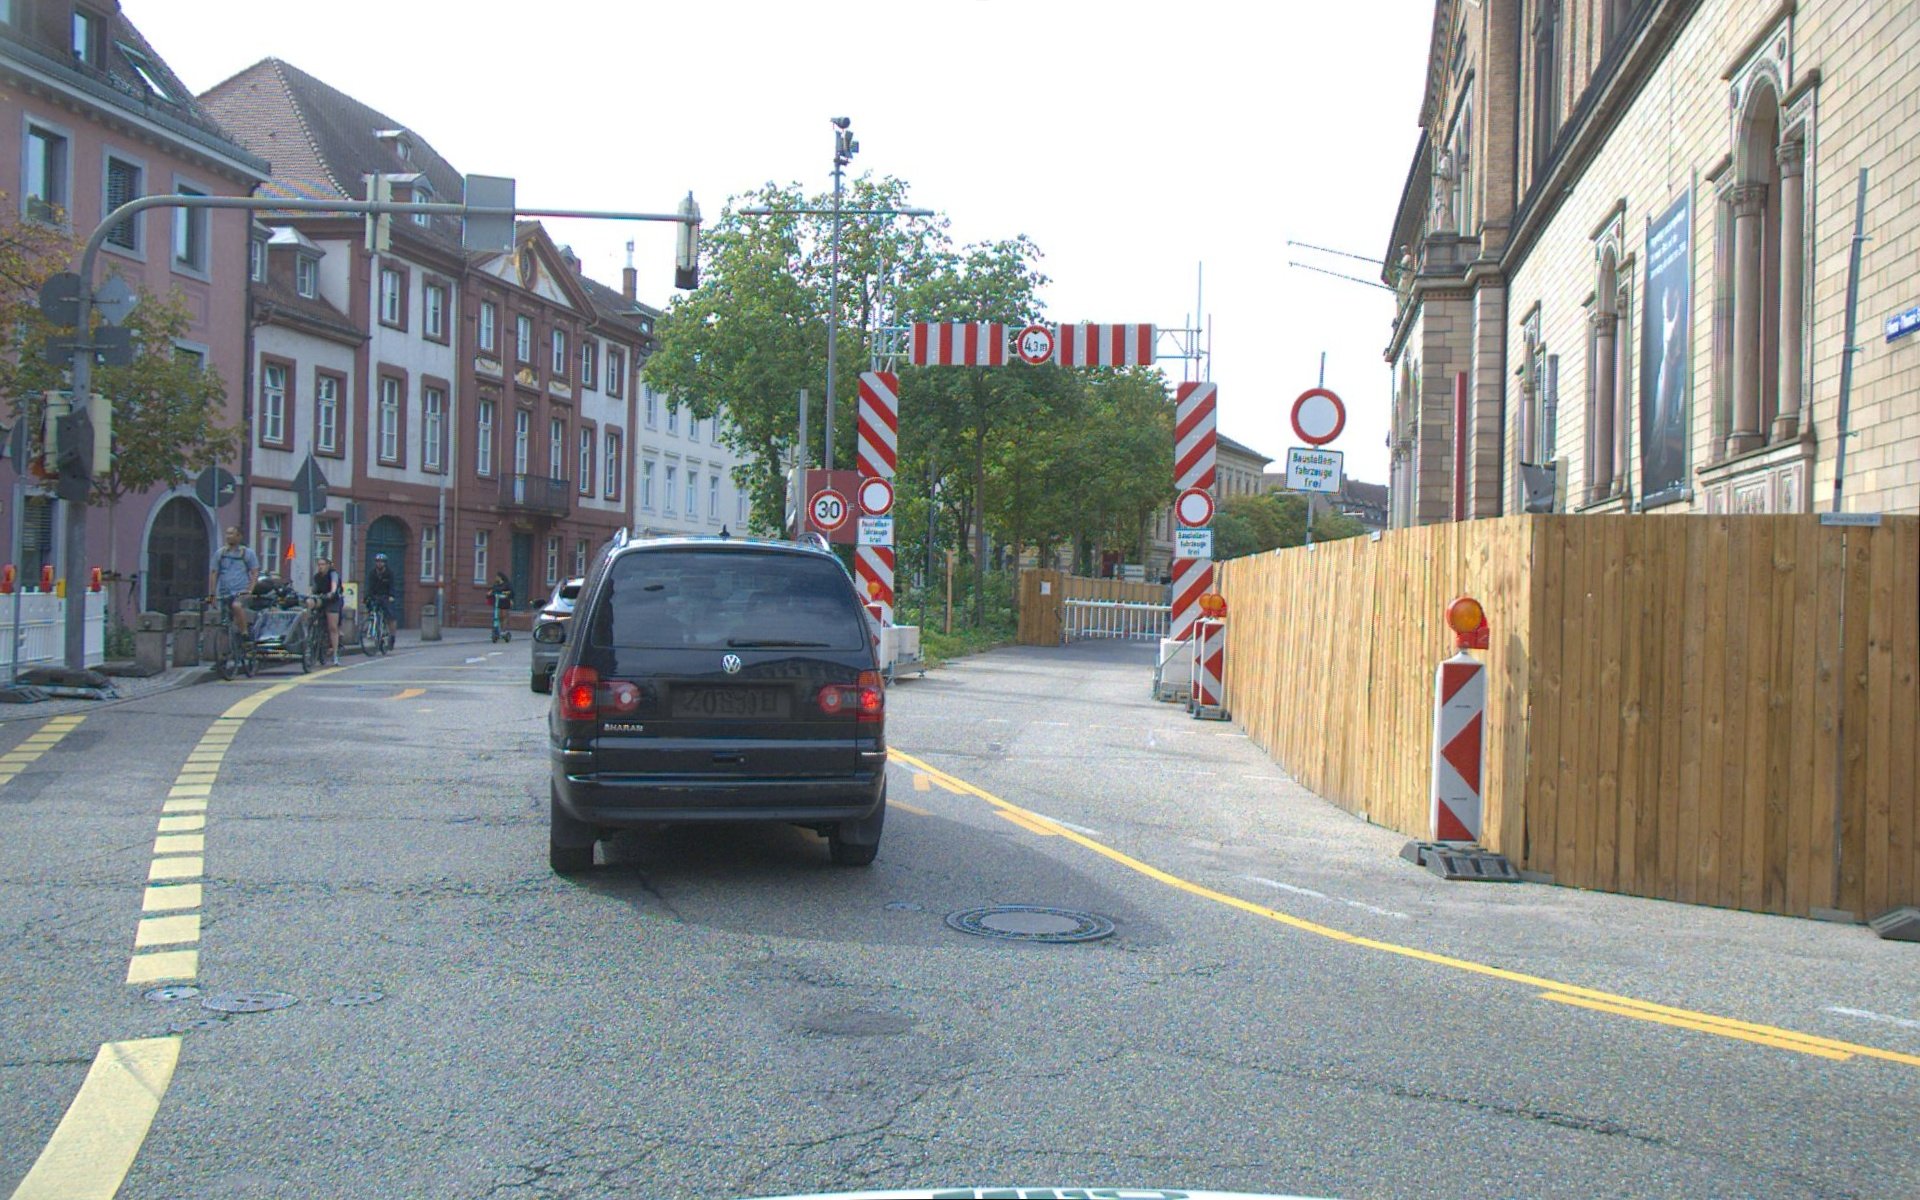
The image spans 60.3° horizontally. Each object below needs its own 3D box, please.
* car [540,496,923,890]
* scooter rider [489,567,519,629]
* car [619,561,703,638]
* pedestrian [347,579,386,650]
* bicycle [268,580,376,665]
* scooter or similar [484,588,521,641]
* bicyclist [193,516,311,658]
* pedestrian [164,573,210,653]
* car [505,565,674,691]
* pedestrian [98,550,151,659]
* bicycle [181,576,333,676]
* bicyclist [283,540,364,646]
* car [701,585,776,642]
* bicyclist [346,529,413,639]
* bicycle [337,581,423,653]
[{"bbox_3d":[-1.468,0.447,9.853,1.758,1.821,4.091,2,0,-12],"label":"car"},{"bbox_3d":[-11.296,-0.039,40.973,0.588,1.516,0.678,1,-1,-6],"label":"scooter rider"},{"bbox_3d":[-6.770,-0.005,37.366,1.741,1.613,3.989,1,0,-11],"label":"car"},{"bbox_3d":[-14.332,0.341,39.927,0.650,1.706,0.698,0,0,4],"label":"pedestrian"},{"bbox_3d":[-10.089,0.342,26.252,0.908,1.277,2.538,1,0,-5],"label":"bicycle"},{"bbox_3d":[-11.316,0.346,40.956,0.588,1.277,1.550,1,0,-6],"label":"scooter or similar"},{"bbox_3d":[-9.647,-0.171,22.590,1.070,1.856,1.364,1,0,-5],"label":"bicyclist"},{"bbox_3d":[-16.758,0.277,35.857,0.650,1.706,0.698,0,0,4],"label":"pedestrian"},{"bbox_3d":[-5.015,0.339,22.008,1.653,1.494,4.079,2,0,-20],"label":"car"},{"bbox_3d":[-13.222,0.064,26.180,0.658,1.706,0.689,0,0,-35],"label":"pedestrian"},{"bbox_3d":[-9.684,0.347,22.956,1.035,1.277,3.037,1,0,-5],"label":"bicycle"},{"bbox_3d":[-10.077,-0.104,26.224,0.908,1.637,1.062,1,0,-5],"label":"bicyclist"},{"bbox_3d":[-6.666,0.407,50.090,1.737,1.613,3.999,1,0,-1],"label":"car"},{"bbox_3d":[-10.872,-0.289,31.019,0.908,1.997,1.104,1,0,-5],"label":"bicyclist"},{"bbox_3d":[-10.895,0.315,31.154,0.908,1.277,2.538,1,0,-5],"label":"bicycle"}]
